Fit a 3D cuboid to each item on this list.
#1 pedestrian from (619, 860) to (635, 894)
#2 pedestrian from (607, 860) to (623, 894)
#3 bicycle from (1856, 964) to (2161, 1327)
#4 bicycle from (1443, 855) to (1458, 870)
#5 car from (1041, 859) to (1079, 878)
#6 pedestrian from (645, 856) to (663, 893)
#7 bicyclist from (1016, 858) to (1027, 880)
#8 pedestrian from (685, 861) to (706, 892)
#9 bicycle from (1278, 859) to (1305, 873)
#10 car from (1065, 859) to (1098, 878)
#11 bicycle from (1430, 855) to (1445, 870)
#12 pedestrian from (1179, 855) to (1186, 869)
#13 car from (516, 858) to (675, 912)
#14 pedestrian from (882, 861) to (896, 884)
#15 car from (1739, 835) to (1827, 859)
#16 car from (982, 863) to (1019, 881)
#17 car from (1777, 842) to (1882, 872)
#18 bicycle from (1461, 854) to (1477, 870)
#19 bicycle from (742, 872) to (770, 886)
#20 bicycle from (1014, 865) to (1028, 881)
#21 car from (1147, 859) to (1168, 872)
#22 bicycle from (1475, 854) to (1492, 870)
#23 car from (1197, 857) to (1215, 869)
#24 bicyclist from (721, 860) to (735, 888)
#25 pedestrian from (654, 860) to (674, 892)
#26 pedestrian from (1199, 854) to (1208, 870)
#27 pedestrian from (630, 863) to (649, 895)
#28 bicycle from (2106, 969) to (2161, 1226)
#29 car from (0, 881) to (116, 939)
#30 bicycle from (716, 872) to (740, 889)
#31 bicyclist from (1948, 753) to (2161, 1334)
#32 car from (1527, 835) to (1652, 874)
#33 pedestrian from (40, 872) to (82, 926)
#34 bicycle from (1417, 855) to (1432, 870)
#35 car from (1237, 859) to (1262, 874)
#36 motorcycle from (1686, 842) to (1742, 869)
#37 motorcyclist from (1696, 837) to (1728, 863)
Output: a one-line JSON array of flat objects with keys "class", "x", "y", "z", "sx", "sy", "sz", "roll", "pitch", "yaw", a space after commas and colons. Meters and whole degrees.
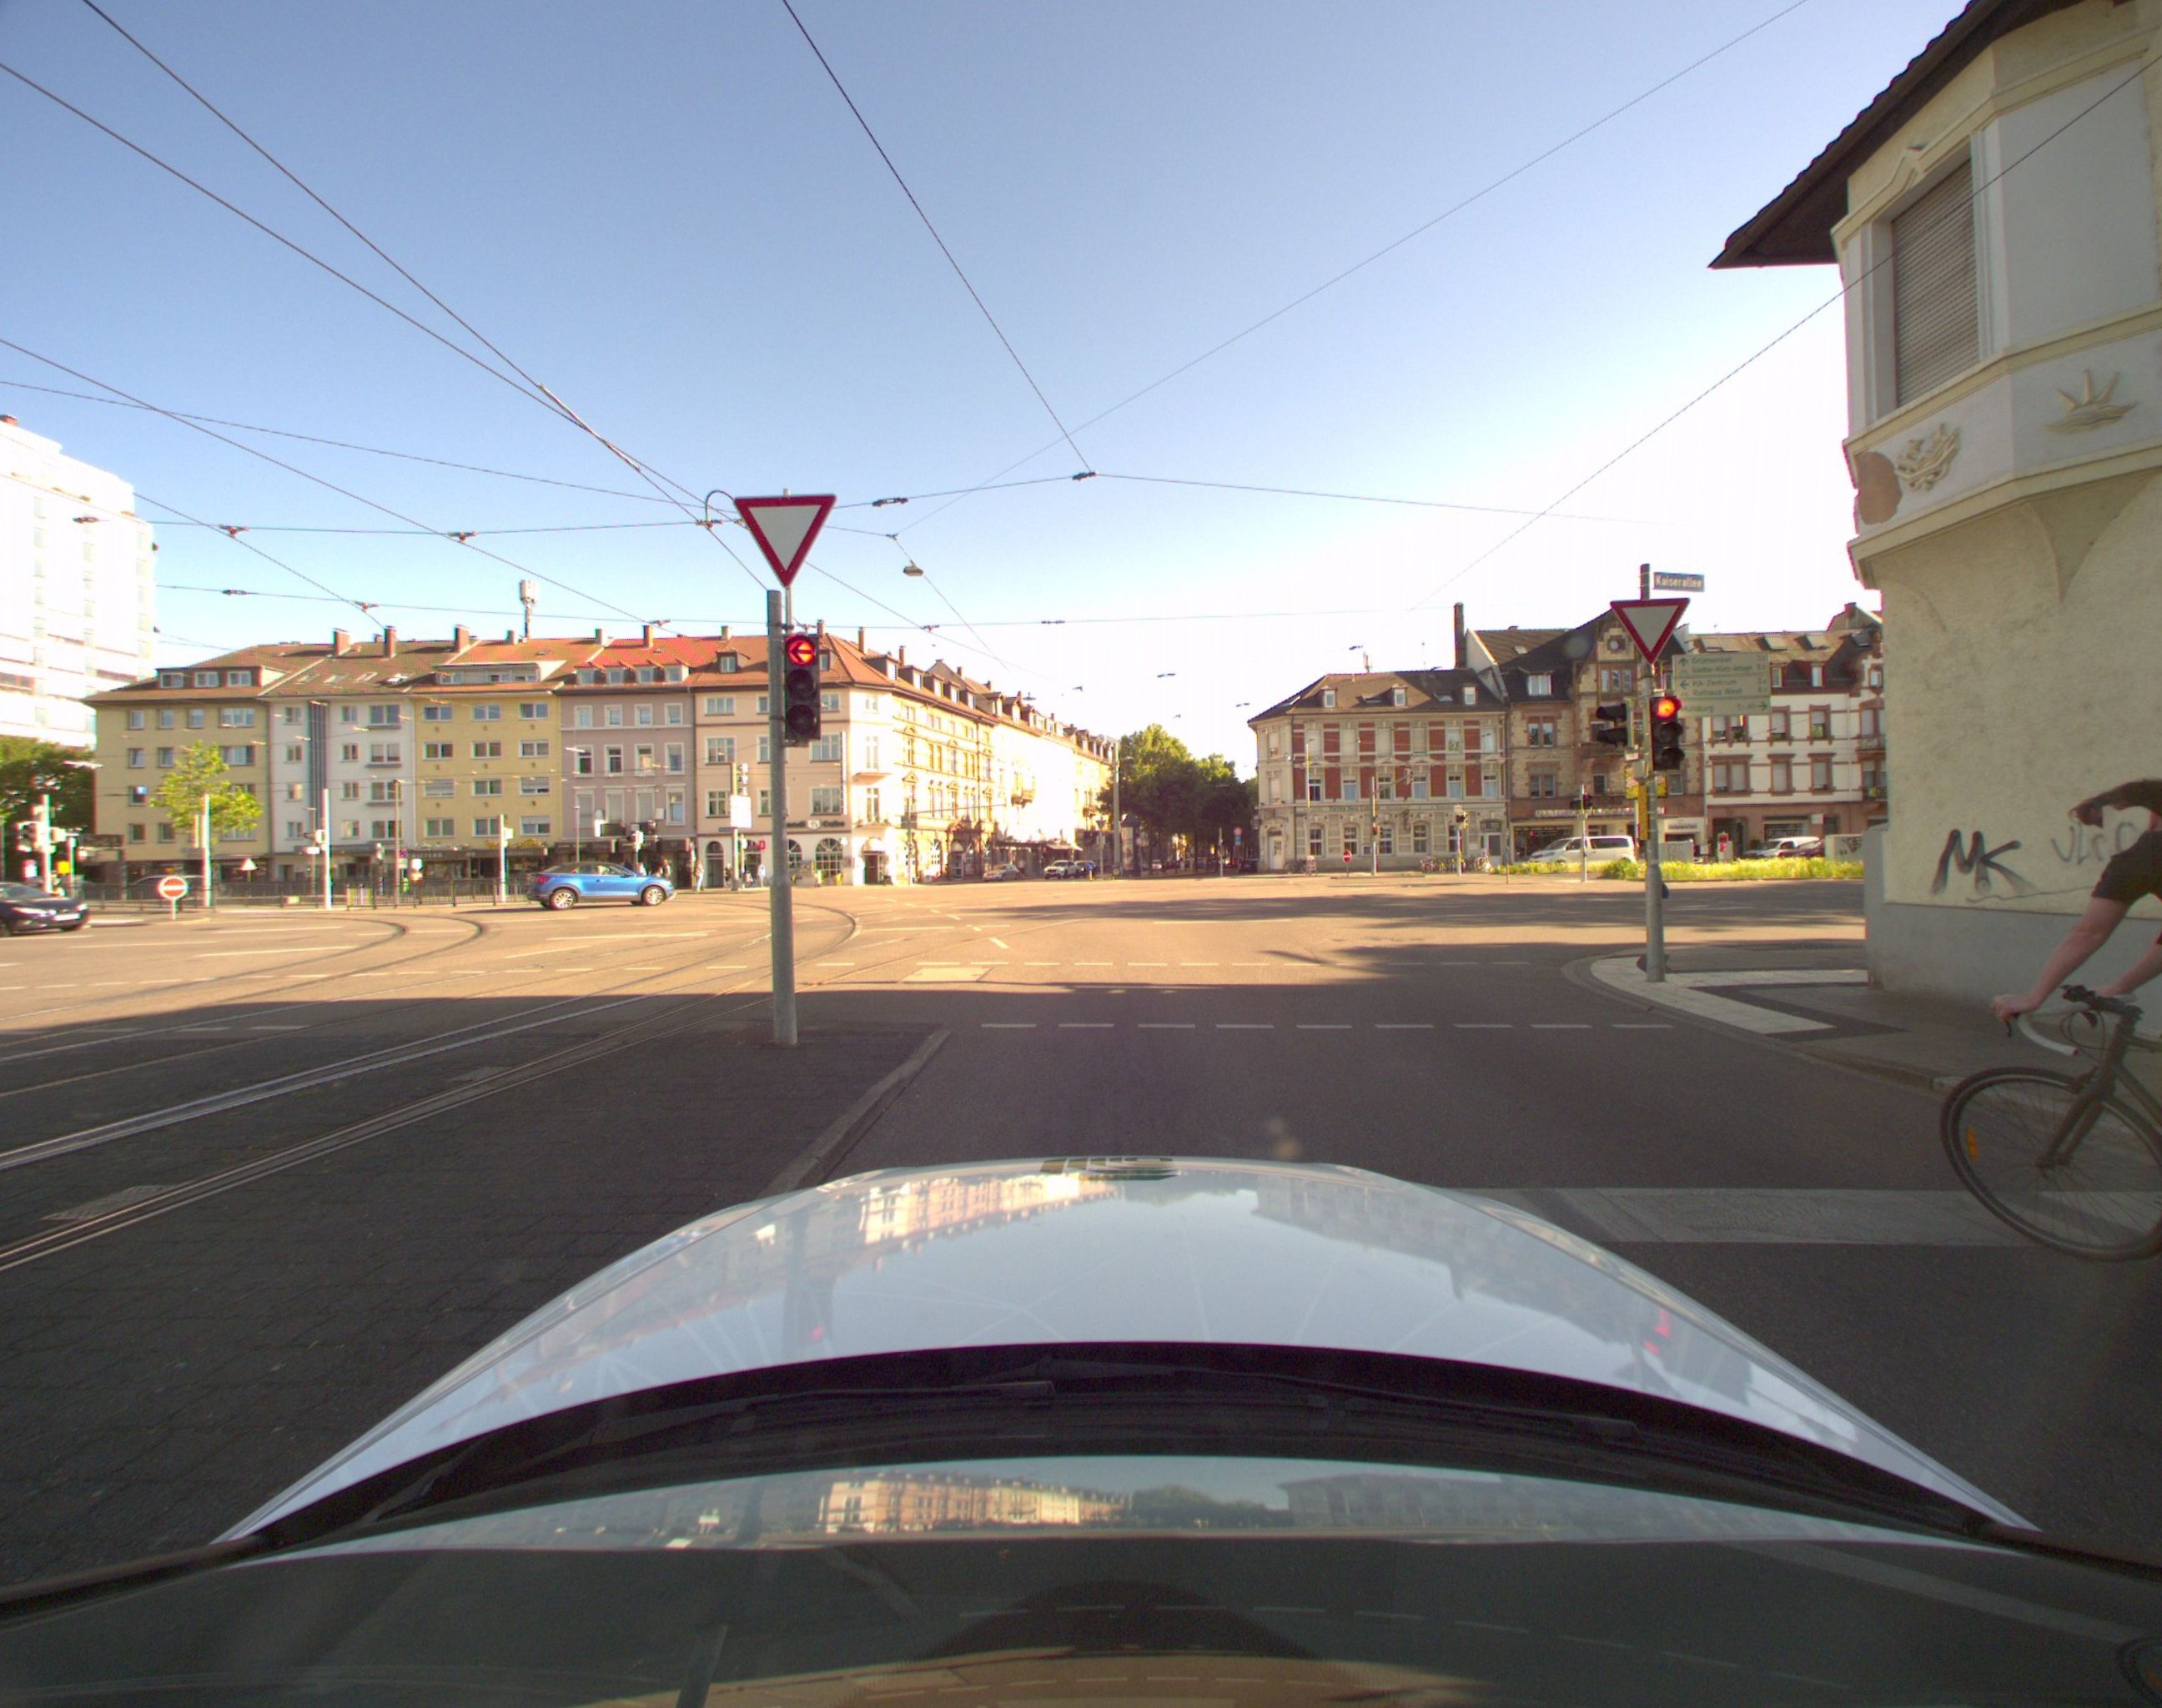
[{"class": "pedestrian", "x": -22.580, "y": 1.138, "z": 40.497, "sx": 0.520, "sy": 1.648, "sz": 0.498, "roll": 0, "pitch": -1, "yaw": 1}, {"class": "pedestrian", "x": -23.196, "y": 1.143, "z": 40.542, "sx": 0.520, "sy": 1.648, "sz": 0.498, "roll": 0, "pitch": -1, "yaw": 1}, {"class": "bicycle", "x": 3.584, "y": 0.966, "z": 2.639, "sx": 0.480, "sy": 0.991, "sz": 1.783, "roll": 0, "pitch": -1, "yaw": 2}, {"class": "bicycle", "x": 24.037, "y": 0.564, "z": 52.984, "sx": 0.758, "sy": 0.983, "sz": 2.221, "roll": -1, "pitch": -1, "yaw": 20}, {"class": "car", "x": -1.681, "y": 1.176, "z": 67.461, "sx": 1.788, "sy": 1.585, "sz": 4.179, "roll": -1, "pitch": -1, "yaw": 19}, {"class": "pedestrian", "x": -21.540, "y": 1.037, "z": 41.066, "sx": 0.525, "sy": 1.823, "sz": 0.677, "roll": 0, "pitch": -1, "yaw": 1}, {"class": "bicyclist", "x": -4.792, "y": 1.211, "z": 65.369, "sx": 0.561, "sy": 1.804, "sz": 0.918, "roll": -1, "pitch": -1, "yaw": 17}, {"class": "pedestrian", "x": -19.857, "y": 1.147, "z": 41.943, "sx": 0.666, "sy": 1.594, "sz": 0.815, "roll": 0, "pitch": -1, "yaw": 1}, {"class": "bicycle", "x": 14.698, "y": 0.829, "z": 56.934, "sx": 1.789, "sy": 0.963, "sz": 0.606, "roll": -1, "pitch": -1, "yaw": 16}, {"class": "car", "x": 0.057, "y": 1.287, "z": 73.788, "sx": 1.809, "sy": 1.685, "sz": 3.893, "roll": -1, "pitch": -1, "yaw": 18}, {"class": "bicycle", "x": 23.250, "y": 0.571, "z": 53.108, "sx": 0.758, "sy": 0.968, "sz": 2.221, "roll": -1, "pitch": -1, "yaw": 20}, {"class": "pedestrian", "x": 15.185, "y": 1.229, "z": 122.134, "sx": 0.936, "sy": 2.014, "sz": 0.830, "roll": -1, "pitch": -1, "yaw": 16}, {"class": "car", "x": -16.003, "y": 0.950, "z": 26.982, "sx": 4.222, "sy": 1.575, "sz": 1.809, "roll": -1, "pitch": 0, "yaw": -43}, {"class": "pedestrian", "x": -13.562, "y": 1.291, "z": 57.473, "sx": 0.562, "sy": 1.642, "sz": 0.797, "roll": -1, "pitch": -1, "yaw": 25}, {"class": "car", "x": 45.174, "y": -0.438, "z": 52.454, "sx": 3.961, "sy": 1.438, "sz": 1.874, "roll": 0, "pitch": -1, "yaw": 5}, {"class": "car", "x": -6.621, "y": 1.472, "z": 67.302, "sx": 1.647, "sy": 1.374, "sz": 3.909, "roll": -1, "pitch": -1, "yaw": 17}, {"class": "car", "x": 37.973, "y": 0.143, "z": 41.362, "sx": 3.854, "sy": 1.426, "sz": 1.596, "roll": -1, "pitch": 0, "yaw": 2}, {"class": "bicycle", "x": 25.184, "y": 0.543, "z": 52.904, "sx": 0.758, "sy": 1.007, "sz": 2.231, "roll": -1, "pitch": -1, "yaw": 20}, {"class": "bicycle", "x": -22.999, "y": 1.752, "z": 57.613, "sx": 1.694, "sy": 0.983, "sz": 0.611, "roll": 0, "pitch": -1, "yaw": 1}, {"class": "bicycle", "x": -4.783, "y": 1.485, "z": 65.359, "sx": 0.561, "sy": 1.254, "sz": 1.564, "roll": -1, "pitch": -1, "yaw": 17}, {"class": "car", "x": 9.693, "y": 1.442, "z": 102.602, "sx": 1.788, "sy": 1.575, "sz": 3.908, "roll": -1, "pitch": -1, "yaw": 17}, {"class": "bicycle", "x": 26.036, "y": 0.534, "z": 52.686, "sx": 0.785, "sy": 1.016, "sz": 2.221, "roll": -1, "pitch": -1, "yaw": 20}, {"class": "car", "x": 17.861, "y": 1.344, "z": 116.386, "sx": 1.978, "sy": 1.684, "sz": 4.018, "roll": -1, "pitch": -1, "yaw": 17}, {"class": "bicyclist", "x": -22.988, "y": 1.319, "z": 53.036, "sx": 0.618, "sy": 1.790, "sz": 0.616, "roll": 0, "pitch": -1, "yaw": 7}, {"class": "pedestrian", "x": -21.530, "y": 1.112, "z": 42.046, "sx": 0.580, "sy": 1.648, "sz": 0.840, "roll": 0, "pitch": -1, "yaw": 1}, {"class": "pedestrian", "x": 15.327, "y": 1.034, "z": 101.815, "sx": 0.957, "sy": 2.014, "sz": 0.919, "roll": 0, "pitch": -1, "yaw": 3}, {"class": "pedestrian", "x": -22.942, "y": 1.307, "z": 42.343, "sx": 0.571, "sy": 1.648, "sz": 0.727, "roll": 0, "pitch": -1, "yaw": 1}, {"class": "bicycle", "x": 4.454, "y": 0.958, "z": 2.459, "sx": 0.501, "sy": 0.983, "sz": 1.783, "roll": 0, "pitch": -1, "yaw": 2}, {"class": "car", "x": -28.830, "y": 1.496, "z": 21.684, "sx": 3.975, "sy": 1.403, "sz": 1.831, "roll": -1, "pitch": 0, "yaw": -1}, {"class": "bicycle", "x": -22.986, "y": 1.711, "z": 53.016, "sx": 0.618, "sy": 1.030, "sz": 1.758, "roll": 0, "pitch": -1, "yaw": 7}, {"class": "bicyclist", "x": 3.579, "y": 0.576, "z": 2.611, "sx": 0.587, "sy": 1.767, "sz": 0.936, "roll": 0, "pitch": -1, "yaw": 2}, {"class": "car", "x": 26.050, "y": 0.007, "z": 41.860, "sx": 5.183, "sy": 1.854, "sz": 2.000, "roll": -1, "pitch": 0, "yaw": -1}, {"class": "pedestrian", "x": -31.657, "y": 1.376, "z": 25.282, "sx": 0.605, "sy": 1.609, "sz": 0.770, "roll": -1, "pitch": -1, "yaw": 36}, {"class": "bicycle", "x": 22.495, "y": 0.578, "z": 53.375, "sx": 0.758, "sy": 0.963, "sz": 2.221, "roll": -1, "pitch": -1, "yaw": 20}, {"class": "car", "x": 17.036, "y": 1.253, "z": 82.283, "sx": 1.741, "sy": 1.556, "sz": 4.021, "roll": -1, "pitch": -1, "yaw": 22}, {"class": "motorcycle", "x": 32.141, "y": 0.097, "z": 41.381, "sx": 2.123, "sy": 1.333, "sz": 0.798, "roll": 0, "pitch": -1, "yaw": 7}, {"class": "motorcyclist", "x": 32.056, "y": -0.207, "z": 41.397, "sx": 1.009, "sy": 1.300, "sz": 0.791, "roll": 0, "pitch": -1, "yaw": 8}]
